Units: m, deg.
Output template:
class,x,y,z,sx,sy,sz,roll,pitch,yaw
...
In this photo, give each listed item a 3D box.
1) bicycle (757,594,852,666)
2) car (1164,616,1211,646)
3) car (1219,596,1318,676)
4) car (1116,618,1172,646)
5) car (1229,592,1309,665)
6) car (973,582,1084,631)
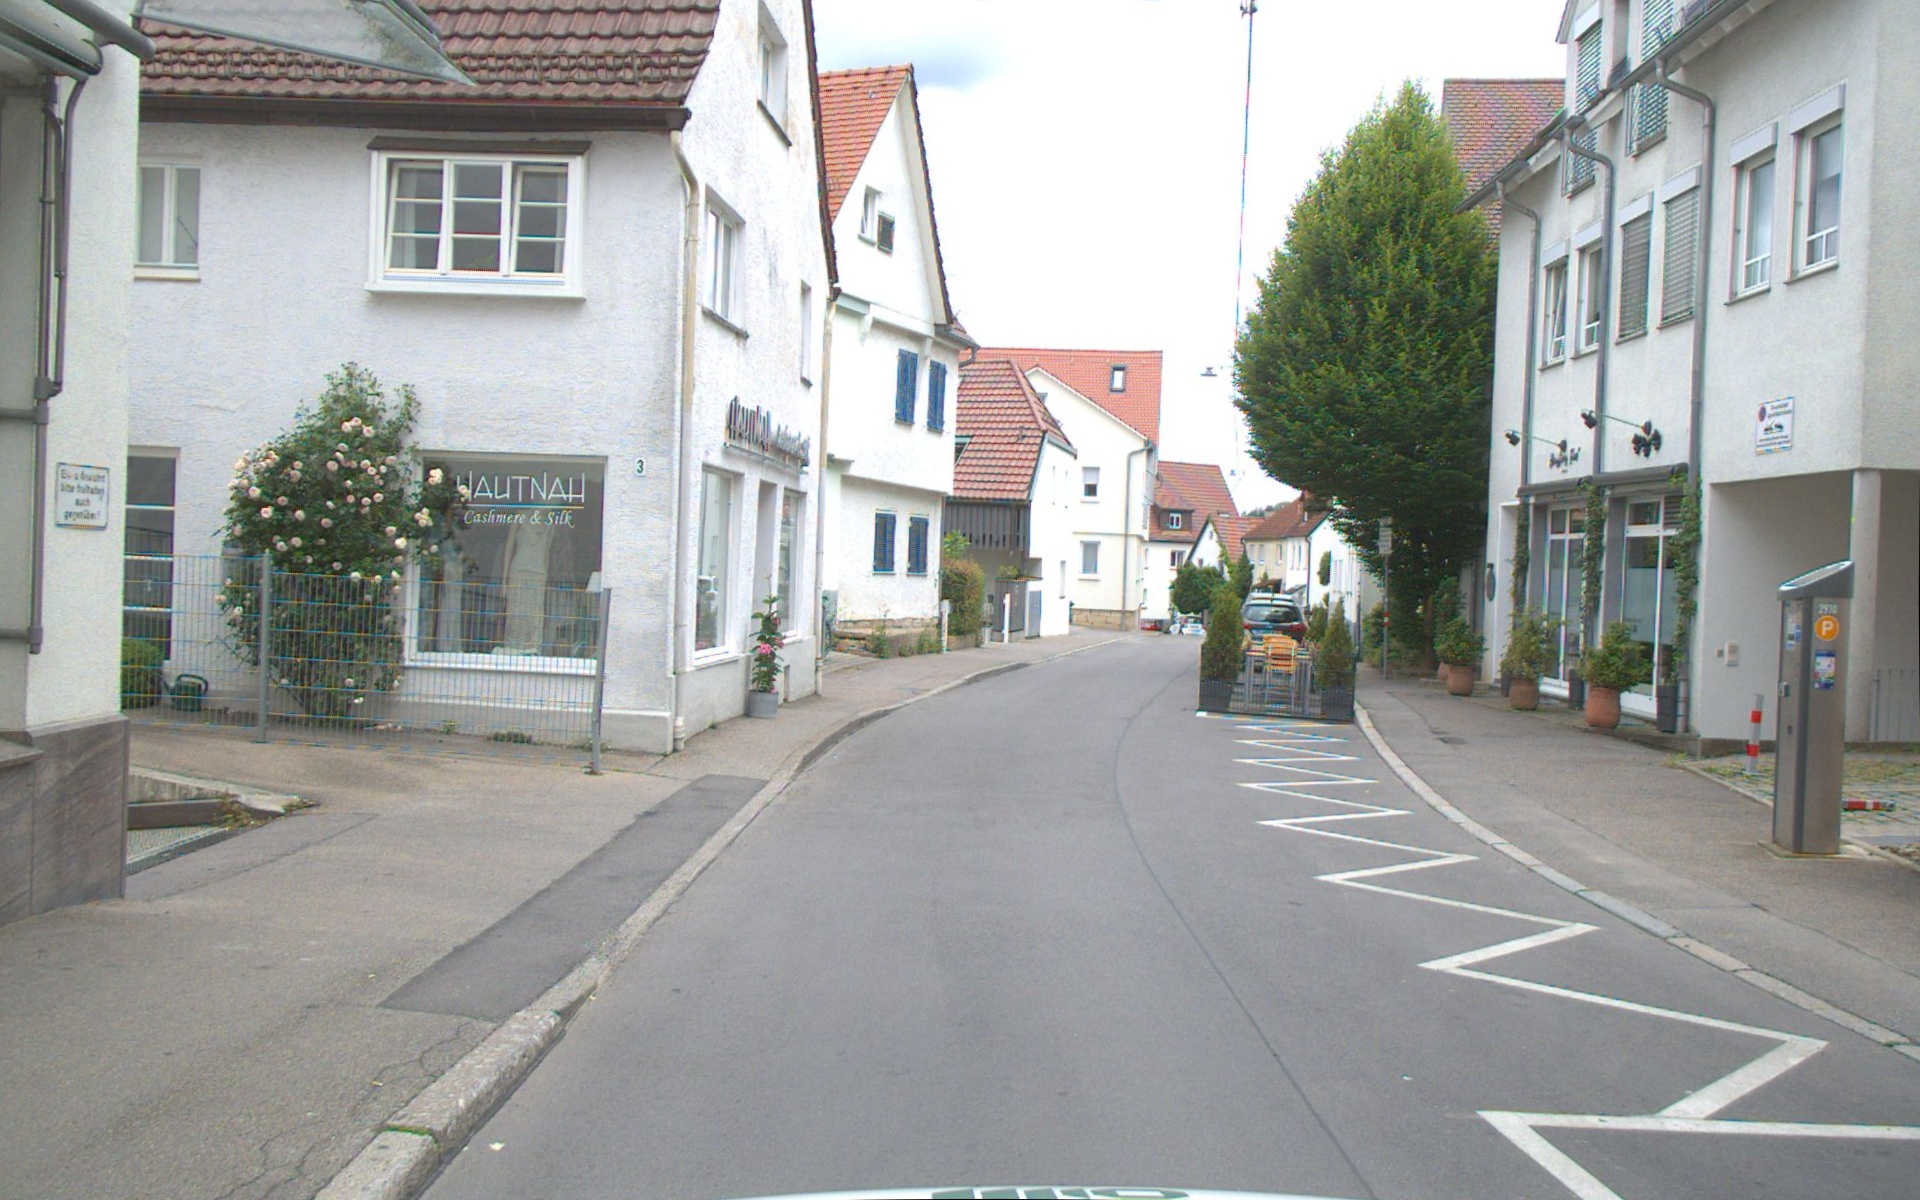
class,x,y,z,sx,sy,sz,roll,pitch,yaw
bicycle,-2.437,0.456,26.239,0.434,1.056,2.091,7,3,24
car,14.598,1.978,106.217,1.925,1.743,3.994,3,0,-7
car,6.781,0.740,36.224,1.907,1.534,4.824,3,0,11
car,12.453,2.178,112.070,1.968,1.713,3.969,-3,-1,-24
car,7.842,0.706,42.216,1.823,1.661,4.905,3,0,10
car,2.569,0.253,61.674,3.653,1.436,2.121,5,-1,15
